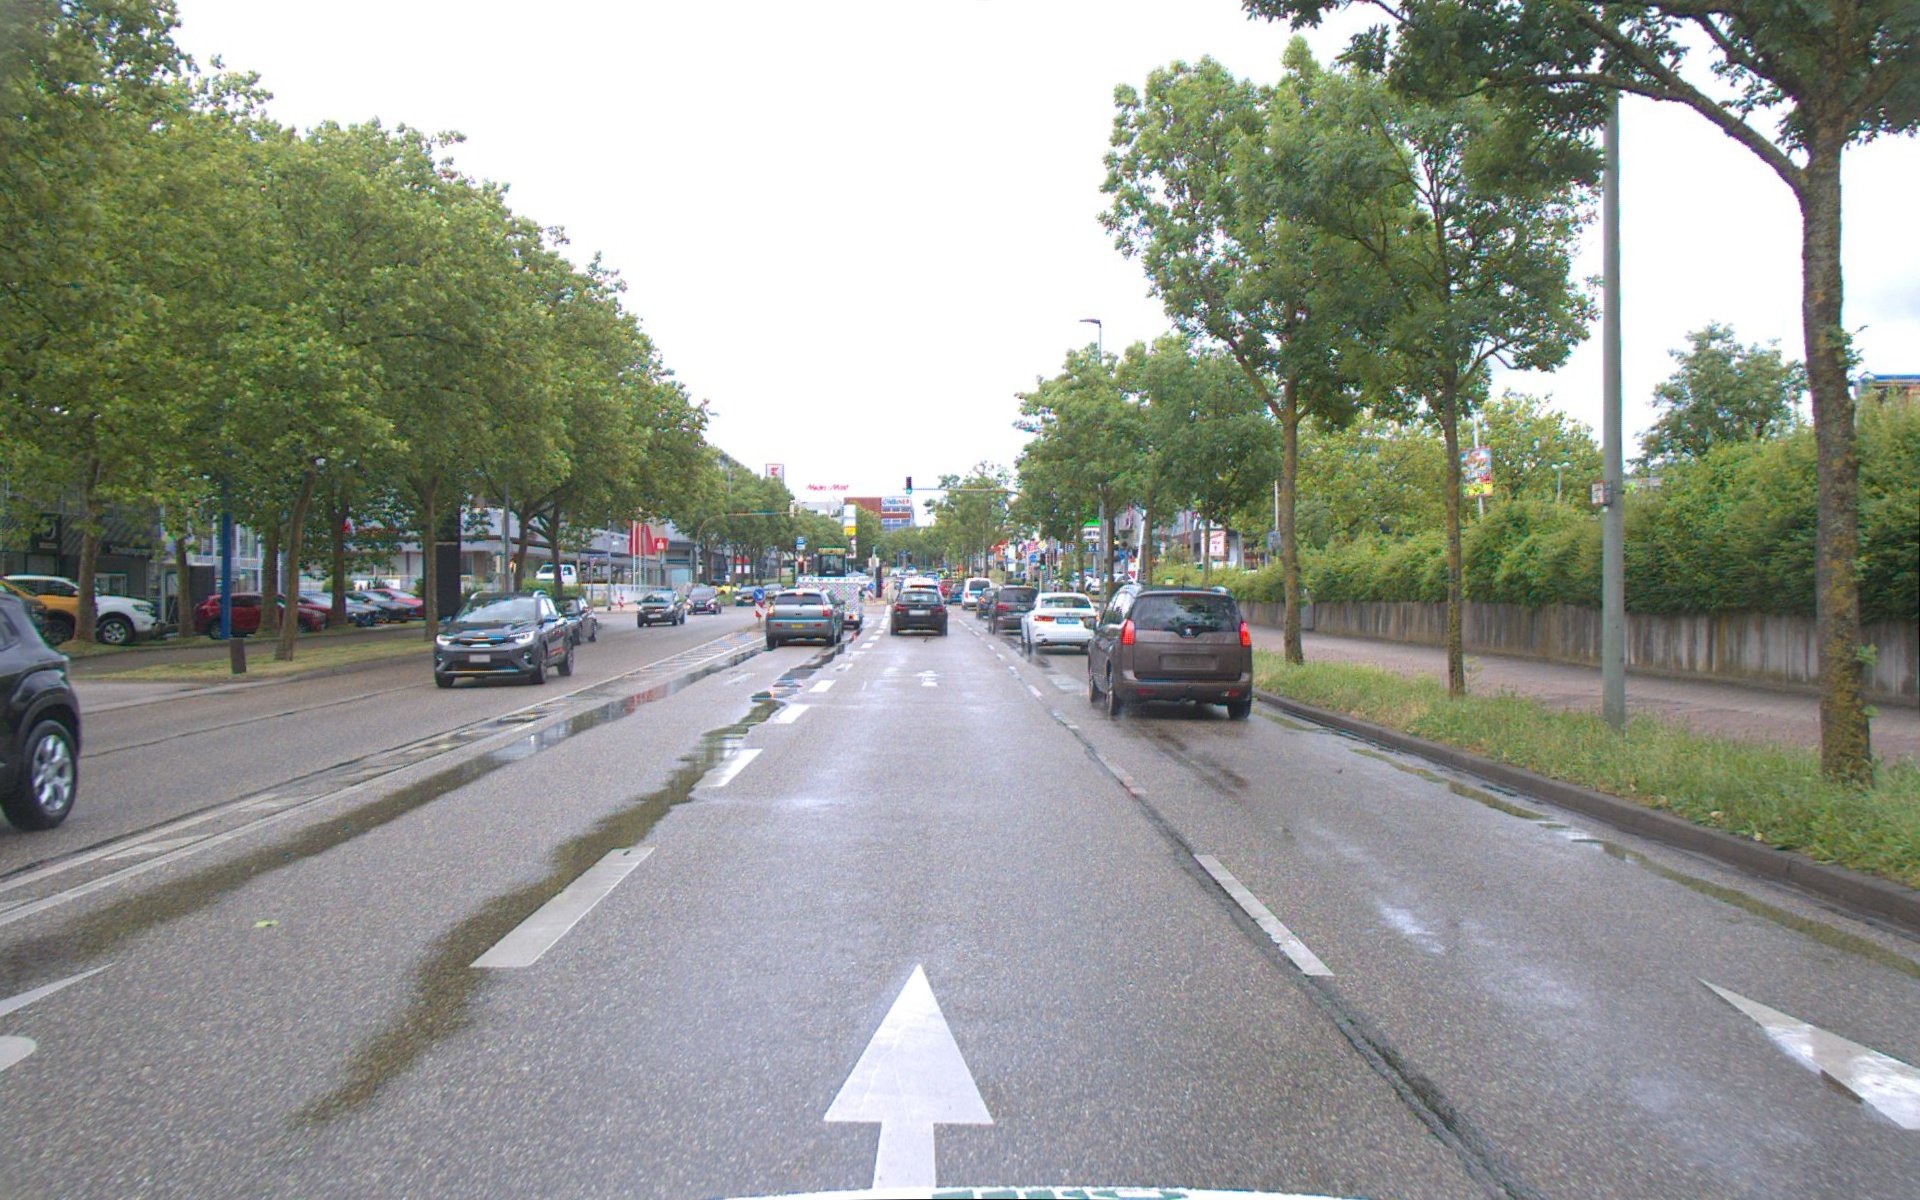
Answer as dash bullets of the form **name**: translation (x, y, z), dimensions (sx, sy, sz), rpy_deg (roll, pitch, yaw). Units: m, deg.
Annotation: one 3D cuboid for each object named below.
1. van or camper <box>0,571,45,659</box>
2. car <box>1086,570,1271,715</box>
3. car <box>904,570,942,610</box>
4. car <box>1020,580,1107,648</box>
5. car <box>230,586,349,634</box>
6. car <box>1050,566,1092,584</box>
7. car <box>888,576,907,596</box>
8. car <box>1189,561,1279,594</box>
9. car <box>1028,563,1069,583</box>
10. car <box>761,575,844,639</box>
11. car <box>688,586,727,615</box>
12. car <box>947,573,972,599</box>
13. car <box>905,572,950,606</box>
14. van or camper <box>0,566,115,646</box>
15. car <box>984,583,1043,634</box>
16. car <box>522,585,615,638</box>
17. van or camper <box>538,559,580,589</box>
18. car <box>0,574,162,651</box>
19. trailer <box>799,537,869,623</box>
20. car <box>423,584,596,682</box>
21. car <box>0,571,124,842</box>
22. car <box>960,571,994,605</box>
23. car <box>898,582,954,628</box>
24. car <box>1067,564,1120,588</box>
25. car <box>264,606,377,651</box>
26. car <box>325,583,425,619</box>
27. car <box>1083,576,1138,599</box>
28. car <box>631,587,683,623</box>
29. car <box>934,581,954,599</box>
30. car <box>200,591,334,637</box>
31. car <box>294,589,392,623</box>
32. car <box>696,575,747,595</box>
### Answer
- **van or camper**: translation (-22.427, 0.353, 35.001), dimensions (5.220, 1.853, 2.246), rpy_deg (-1, 1, -27)
- **car**: translation (2.703, 0.467, 21.409), dimensions (1.691, 1.652, 4.470), rpy_deg (-1, 1, -1)
- **car**: translation (-1.964, -0.508, 87.789), dimensions (1.953, 2.049, 3.999), rpy_deg (1, 0, -2)
- **car**: translation (2.528, 0.302, 41.225), dimensions (1.764, 1.571, 4.619), rpy_deg (1, 1, -1)
- **car**: translation (-25.992, 0.376, 64.119), dimensions (4.165, 1.682, 1.997), rpy_deg (-2, 0, -25)
- **car**: translation (9.837, -2.215, 146.340), dimensions (3.568, 1.562, 1.770), rpy_deg (-3, 2, -41)
- **car**: translation (-6.621, -1.504, 175.698), dimensions (1.953, 2.049, 3.999), rpy_deg (1, 0, -1)
- **car**: translation (12.743, -1.064, 77.120), dimensions (3.905, 1.467, 1.655), rpy_deg (-1, 1, 0)
- **car**: translation (8.984, -2.772, 168.113), dimensions (4.027, 1.938, 1.800), rpy_deg (-1, 1, 0)
- **car**: translation (-4.221, 0.161, 45.101), dimensions (1.868, 1.606, 4.879), rpy_deg (-1, 1, -1)
- **car**: translation (-14.013, 0.013, 91.840), dimensions (1.676, 1.490, 4.083), rpy_deg (-2, 1, -3)
- **car**: translation (-0.039, -0.933, 114.337), dimensions (1.650, 1.713, 3.402), rpy_deg (1, 0, -1)
- **car**: translation (-1.394, -0.487, 70.084), dimensions (1.649, 1.401, 3.996), rpy_deg (-1, 1, -5)
- **van or camper**: translation (-23.180, 0.185, 39.386), dimensions (5.288, 1.801, 2.088), rpy_deg (-1, -2, -25)
- **car**: translation (1.780, 0.255, 56.065), dimensions (1.764, 1.614, 4.450), rpy_deg (1, 1, -1)
- **car**: translation (-11.704, 0.313, 49.718), dimensions (1.701, 1.454, 4.537), rpy_deg (-2, 1, -1)
- **van or camper**: translation (-28.320, -1.795, 116.905), dimensions (1.953, 2.001, 4.786), rpy_deg (1, 0, -2)
- **car**: translation (-23.019, 0.300, 42.553), dimensions (4.396, 1.847, 1.985), rpy_deg (-1, 1, -25)
- **trailer**: translation (-4.528, -0.722, 60.188), dimensions (2.325, 2.947, 5.543), rpy_deg (-1, 0, -3)
- **car**: translation (-7.493, 0.496, 27.906), dimensions (1.632, 1.487, 4.182), rpy_deg (-2, 1, 2)
- **car**: translation (-6.402, 0.655, 9.011), dimensions (1.727, 1.558, 3.857), rpy_deg (-2, 1, -1)
- **car**: translation (0.931, -0.700, 94.674), dimensions (1.746, 1.898, 3.999), rpy_deg (-1, 1, -2)
- **car**: translation (-1.122, 0.140, 53.580), dimensions (1.746, 1.422, 3.999), rpy_deg (0, 1, -2)
- **car**: translation (10.735, -1.912, 132.919), dimensions (3.993, 1.691, 1.953), rpy_deg (-4, 3, -41)
- **car**: translation (-26.180, 1.145, 67.682), dimensions (4.165, 1.623, 1.984), rpy_deg (-3, 1, -25)
- **car**: translation (-26.463, 0.043, 74.907), dimensions (3.903, 1.515, 1.877), rpy_deg (-1, 1, -6)
- **car**: translation (10.969, -0.919, 120.371), dimensions (1.896, 1.604, 4.266), rpy_deg (0, 1, 39)
- **car**: translation (-13.000, 0.193, 71.159), dimensions (1.676, 1.490, 4.083), rpy_deg (-2, 1, -3)
- **car**: translation (-1.376, -0.852, 140.194), dimensions (1.661, 1.468, 3.988), rpy_deg (-1, 0, -1)
- **car**: translation (-25.476, 0.494, 60.871), dimensions (4.494, 1.624, 1.985), rpy_deg (0, 0, -24)
- **car**: translation (-26.796, 0.249, 71.921), dimensions (3.668, 1.415, 1.688), rpy_deg (-1, 1, -6)
- **car**: translation (-19.993, -1.290, 138.779), dimensions (3.916, 1.579, 1.895), rpy_deg (-1, 1, 33)
